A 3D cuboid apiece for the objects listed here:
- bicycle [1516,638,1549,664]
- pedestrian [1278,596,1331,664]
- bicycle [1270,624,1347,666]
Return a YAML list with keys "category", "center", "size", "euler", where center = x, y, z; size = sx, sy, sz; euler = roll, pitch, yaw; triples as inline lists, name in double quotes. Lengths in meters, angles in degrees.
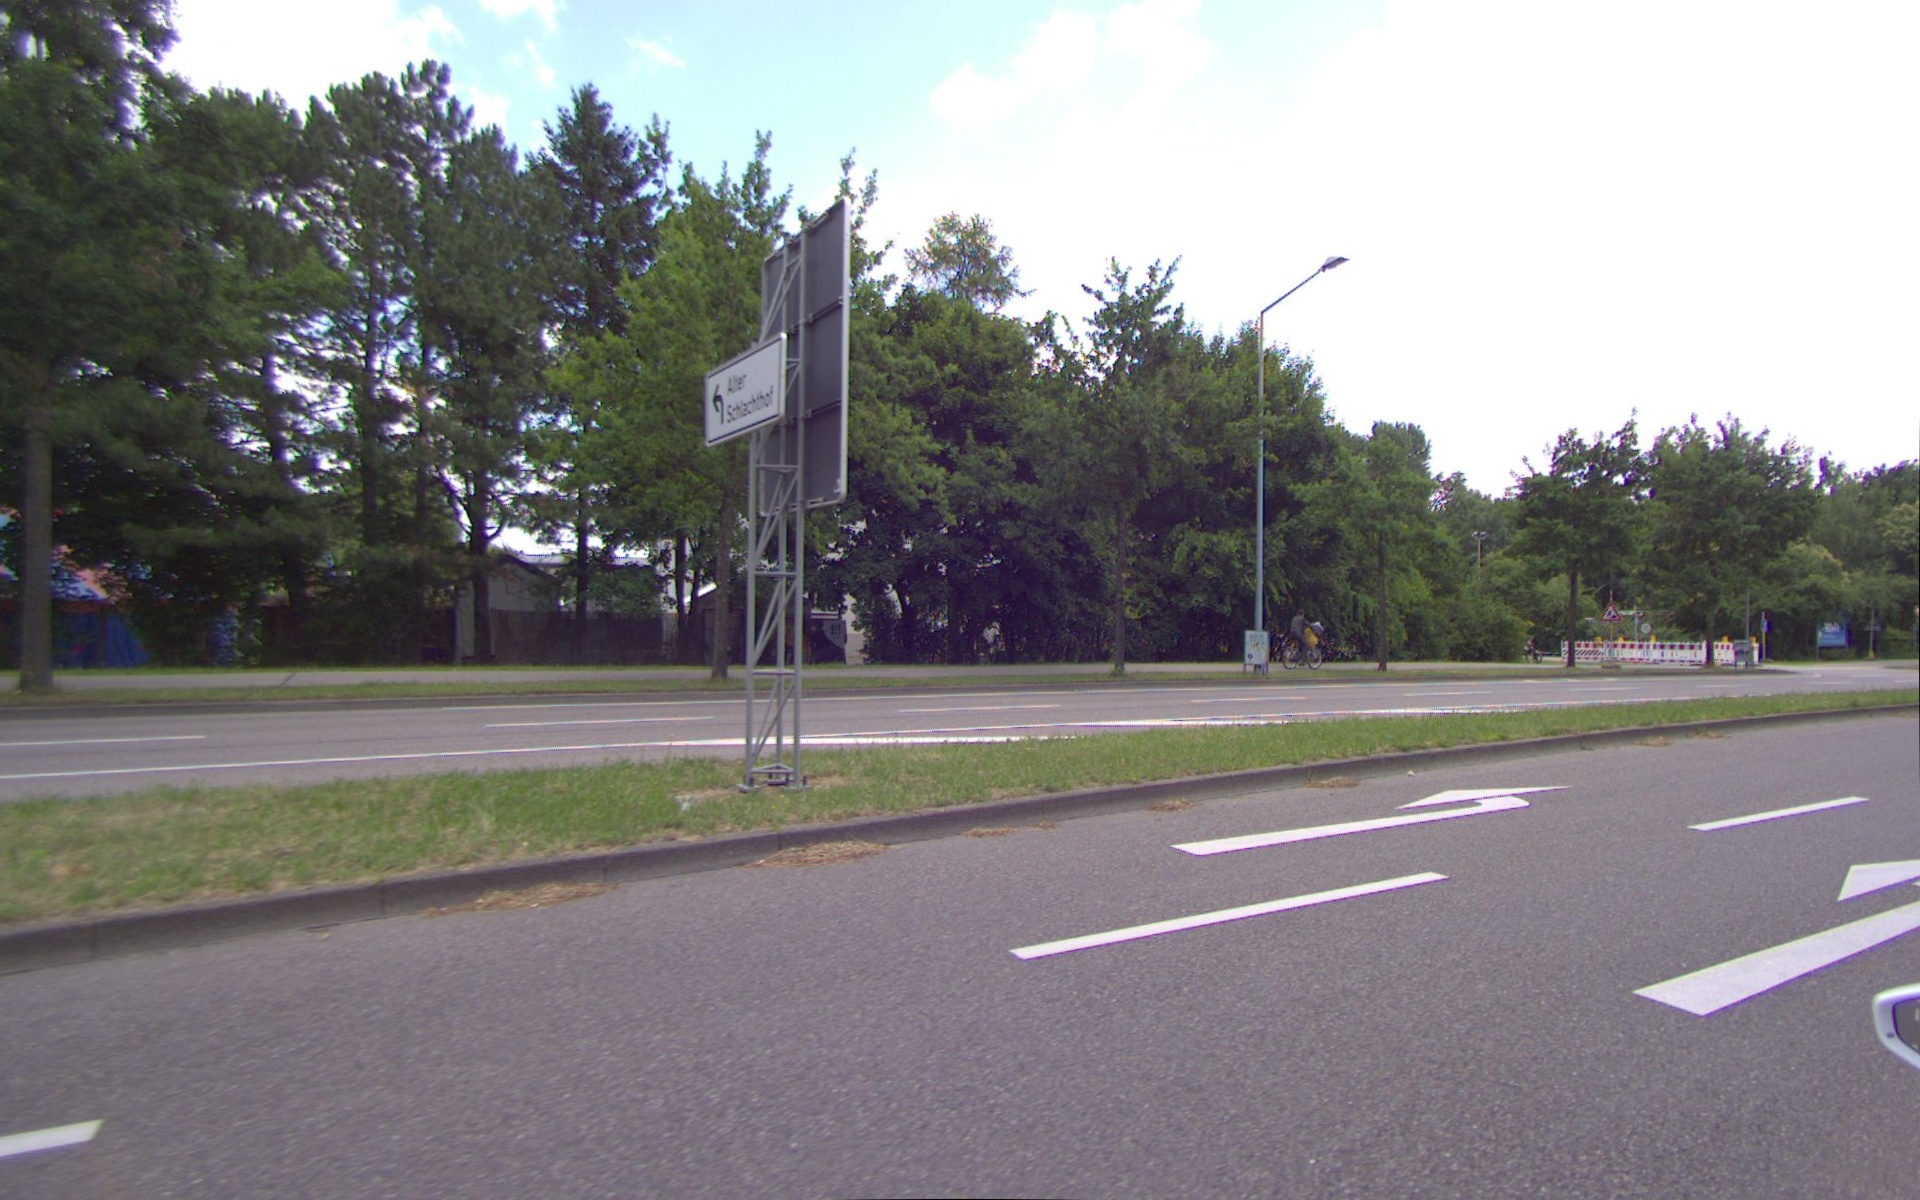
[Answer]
- category: "bicycle"
  center: [24.904, 2.193, 43.748]
  size: [0.866, 1.073, 2.364]
  euler: [1, -1, 20]
- category: "pedestrian"
  center: [10.606, 0.927, 30.958]
  size: [1.234, 2.040, 0.966]
  euler: [1, -1, -29]
- category: "bicycle"
  center: [10.751, 1.391, 30.920]
  size: [2.472, 1.242, 0.804]
  euler: [3, -2, -30]
